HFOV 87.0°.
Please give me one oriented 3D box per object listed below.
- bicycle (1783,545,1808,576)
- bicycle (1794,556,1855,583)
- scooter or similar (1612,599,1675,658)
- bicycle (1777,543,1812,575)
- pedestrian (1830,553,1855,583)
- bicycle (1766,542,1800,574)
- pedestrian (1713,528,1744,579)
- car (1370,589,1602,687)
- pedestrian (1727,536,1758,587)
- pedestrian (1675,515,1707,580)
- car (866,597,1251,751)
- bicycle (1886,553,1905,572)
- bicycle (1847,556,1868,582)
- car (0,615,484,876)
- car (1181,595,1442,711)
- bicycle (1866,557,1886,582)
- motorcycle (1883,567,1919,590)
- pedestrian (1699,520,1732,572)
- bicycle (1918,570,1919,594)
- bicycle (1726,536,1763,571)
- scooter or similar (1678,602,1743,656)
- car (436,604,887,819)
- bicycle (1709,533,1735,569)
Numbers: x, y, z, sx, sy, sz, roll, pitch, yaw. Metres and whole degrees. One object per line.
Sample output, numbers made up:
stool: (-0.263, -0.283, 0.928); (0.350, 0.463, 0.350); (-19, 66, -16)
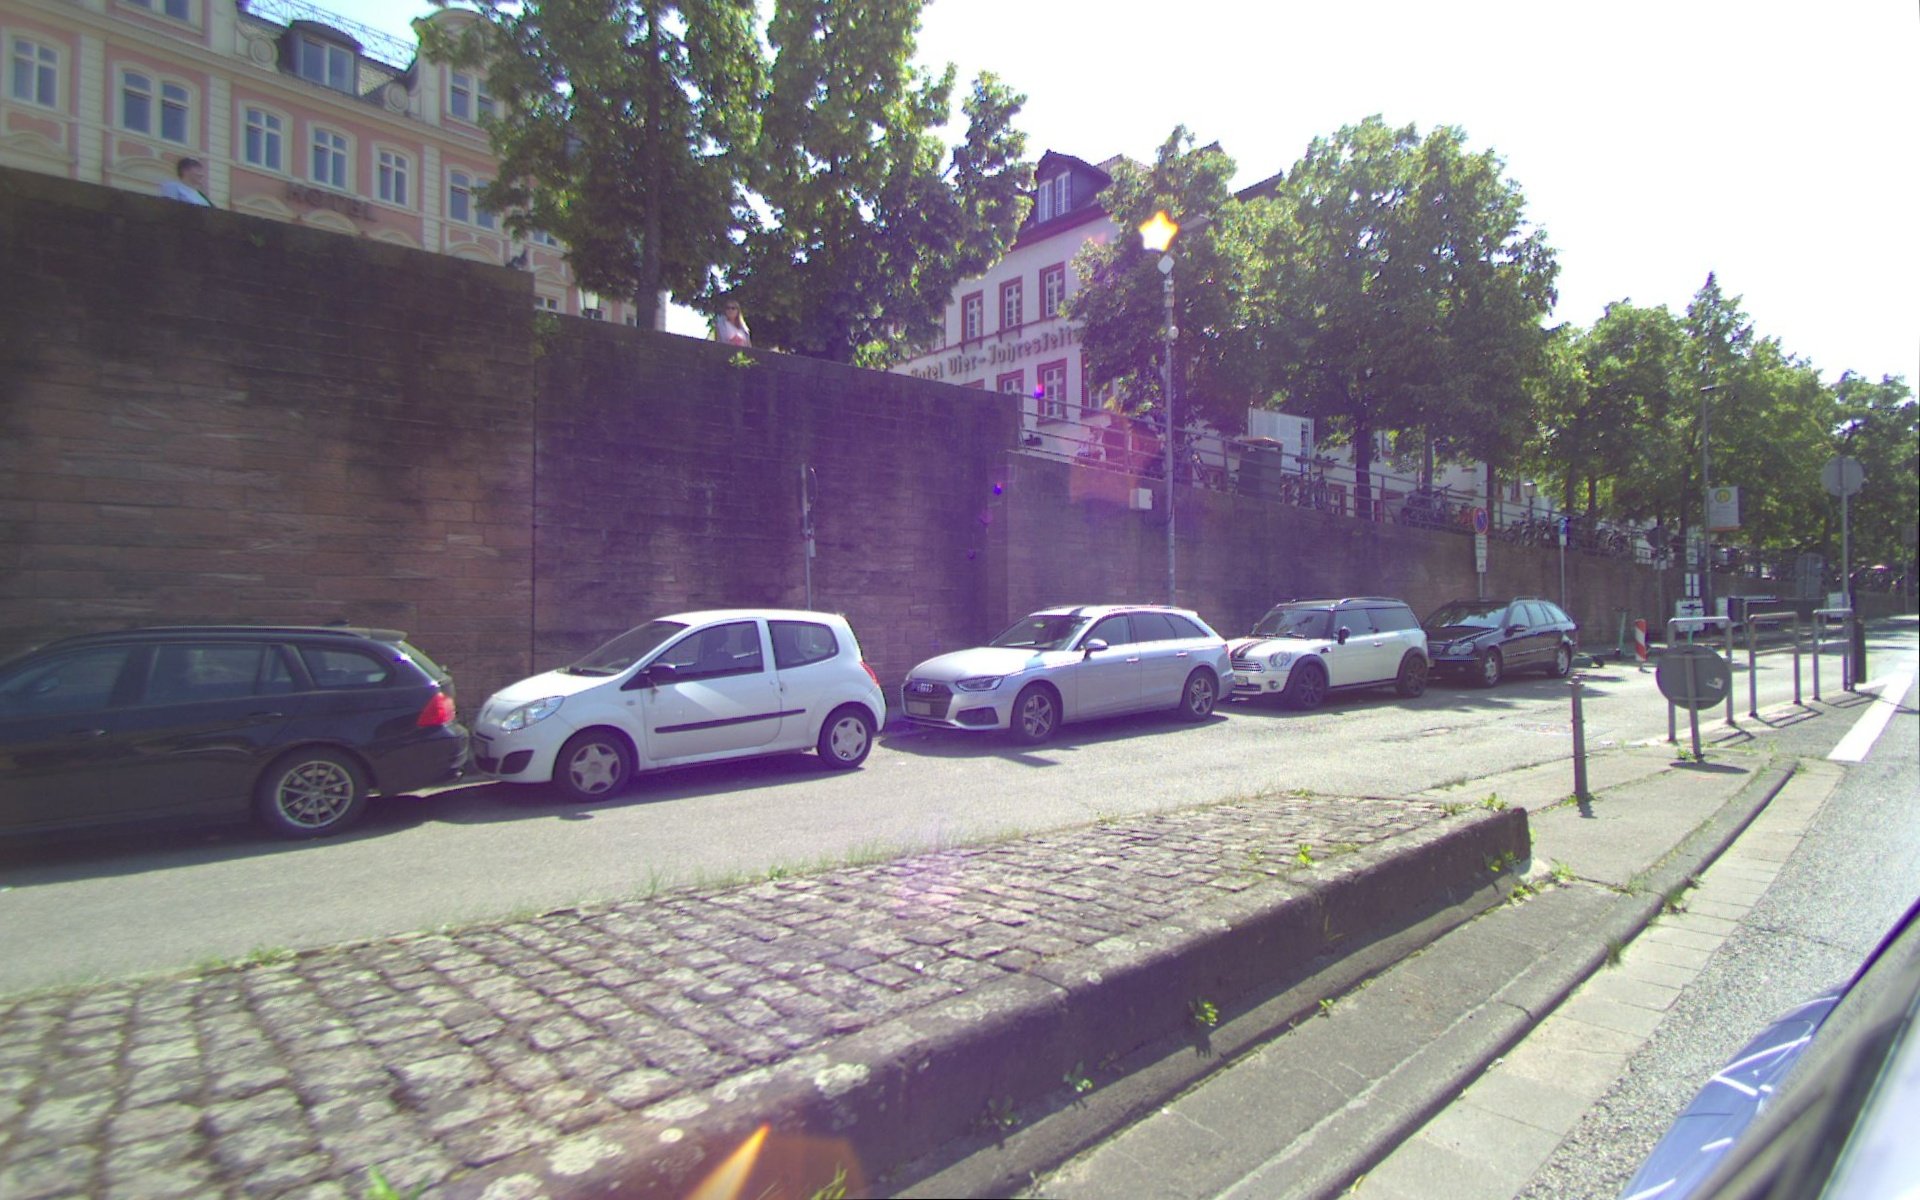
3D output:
bicycle: (33.436, -1.577, 40.490); (1.898, 1.155, 0.383); (0, -1, -38)
bicycle: (35.133, -1.221, 41.161); (0.293, 1.017, 1.858); (1, -1, -39)
scooter or similar: (14.913, 0.606, 22.086); (1.245, 1.246, 0.534); (-1, 0, -23)
bicycle: (30.485, -1.492, 36.972); (1.886, 1.120, 0.411); (-1, 0, -32)
pedestrian: (38.294, -1.394, 43.912); (0.658, 1.281, 0.696); (0, 0, -41)
bicycle: (29.209, -1.471, 35.903); (1.700, 1.120, 0.411); (-1, 0, -32)
pedestrian: (26.764, -1.599, 35.241); (0.562, 1.742, 0.720); (0, 0, -37)
car: (9.301, 0.597, 17.763); (4.450, 1.468, 1.847); (-1, -1, -37)
pedestrian: (27.390, -1.340, 35.426); (0.562, 1.742, 0.720); (0, 0, -37)
pedestrian: (25.495, -1.831, 35.292); (0.698, 2.217, 0.720); (0, 0, -37)
car: (1.318, 0.746, 12.171); (4.669, 1.451, 1.758); (-1, -1, -38)
bicycle: (41.612, -1.669, 45.005); (1.884, 0.794, 0.350); (0, 0, -39)
bicycle: (36.731, -1.242, 41.417); (1.826, 1.017, 0.299); (0, -1, -38)
car: (-5.682, 0.882, 6.807); (4.321, 1.406, 1.717); (-1, 1, -32)
car: (5.171, 0.682, 14.731); (3.829, 1.431, 1.617); (-1, -1, -35)
bicycle: (38.514, -1.271, 42.532); (1.906, 1.017, 0.299); (0, -1, -38)
motorcycle: (46.939, -1.057, 50.041); (0.565, 1.112, 1.916); (-1, 1, -44)
pedestrian: (26.160, -1.847, 35.036); (0.698, 1.742, 0.720); (0, 0, -37)
bicycle: (46.105, -0.864, 48.145); (1.881, 1.126, 0.345); (-1, 0, -33)
bicycle: (25.944, -1.540, 33.464); (1.700, 1.120, 0.411); (-1, 0, -32)
scooter or similar: (16.113, 0.609, 21.725); (1.410, 1.103, 0.534); (-1, 0, -28)
car: (-2.578, 0.822, 9.071); (3.484, 1.476, 1.714); (-1, -1, -39)
bicycle: (24.356, -1.549, 32.349); (1.706, 1.120, 0.410); (-1, 0, -44)
